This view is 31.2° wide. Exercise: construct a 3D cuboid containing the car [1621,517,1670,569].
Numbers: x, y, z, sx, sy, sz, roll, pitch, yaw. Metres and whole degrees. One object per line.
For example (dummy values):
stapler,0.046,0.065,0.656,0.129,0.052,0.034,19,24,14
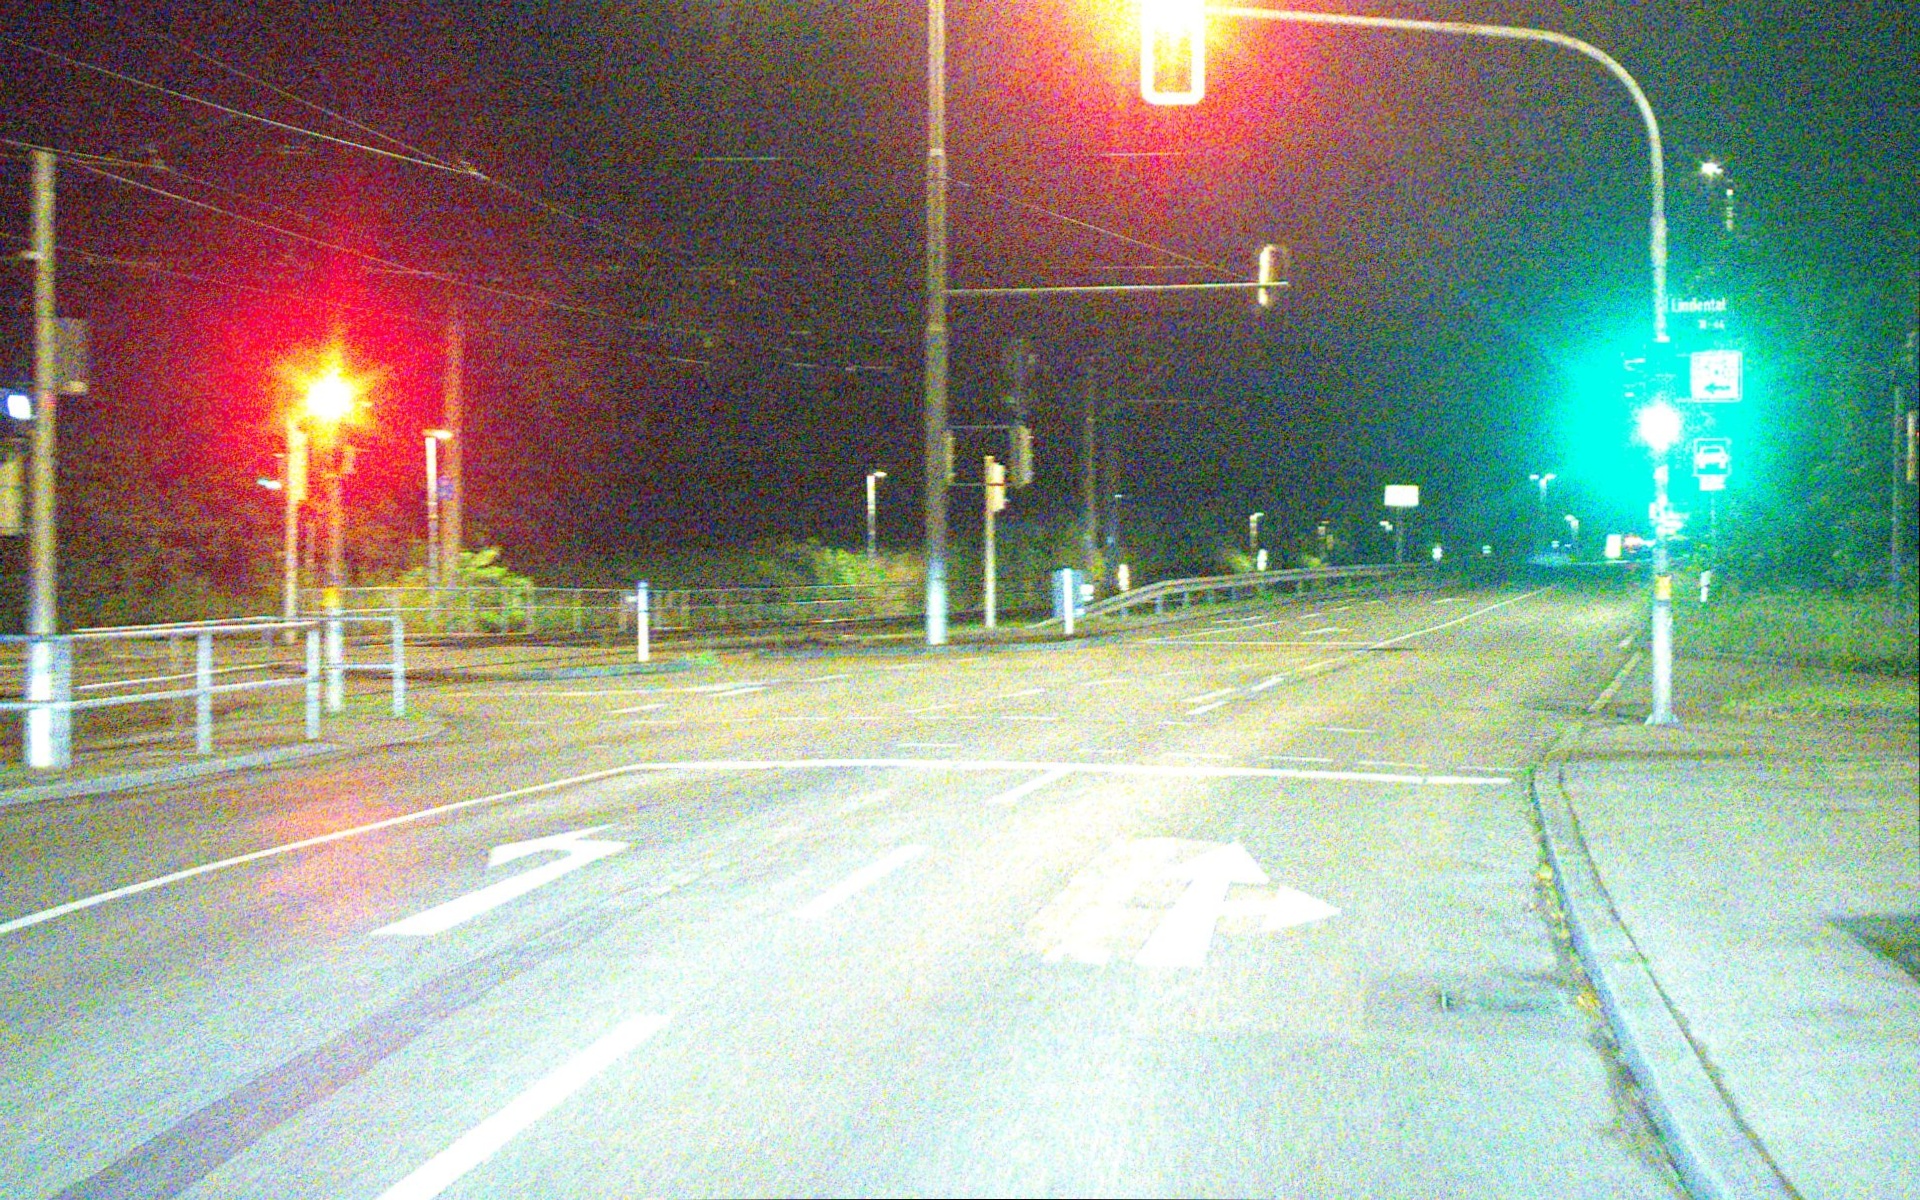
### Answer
car,29.625,-2.446,148.434,1.994,2.007,3.997,1,-1,12
